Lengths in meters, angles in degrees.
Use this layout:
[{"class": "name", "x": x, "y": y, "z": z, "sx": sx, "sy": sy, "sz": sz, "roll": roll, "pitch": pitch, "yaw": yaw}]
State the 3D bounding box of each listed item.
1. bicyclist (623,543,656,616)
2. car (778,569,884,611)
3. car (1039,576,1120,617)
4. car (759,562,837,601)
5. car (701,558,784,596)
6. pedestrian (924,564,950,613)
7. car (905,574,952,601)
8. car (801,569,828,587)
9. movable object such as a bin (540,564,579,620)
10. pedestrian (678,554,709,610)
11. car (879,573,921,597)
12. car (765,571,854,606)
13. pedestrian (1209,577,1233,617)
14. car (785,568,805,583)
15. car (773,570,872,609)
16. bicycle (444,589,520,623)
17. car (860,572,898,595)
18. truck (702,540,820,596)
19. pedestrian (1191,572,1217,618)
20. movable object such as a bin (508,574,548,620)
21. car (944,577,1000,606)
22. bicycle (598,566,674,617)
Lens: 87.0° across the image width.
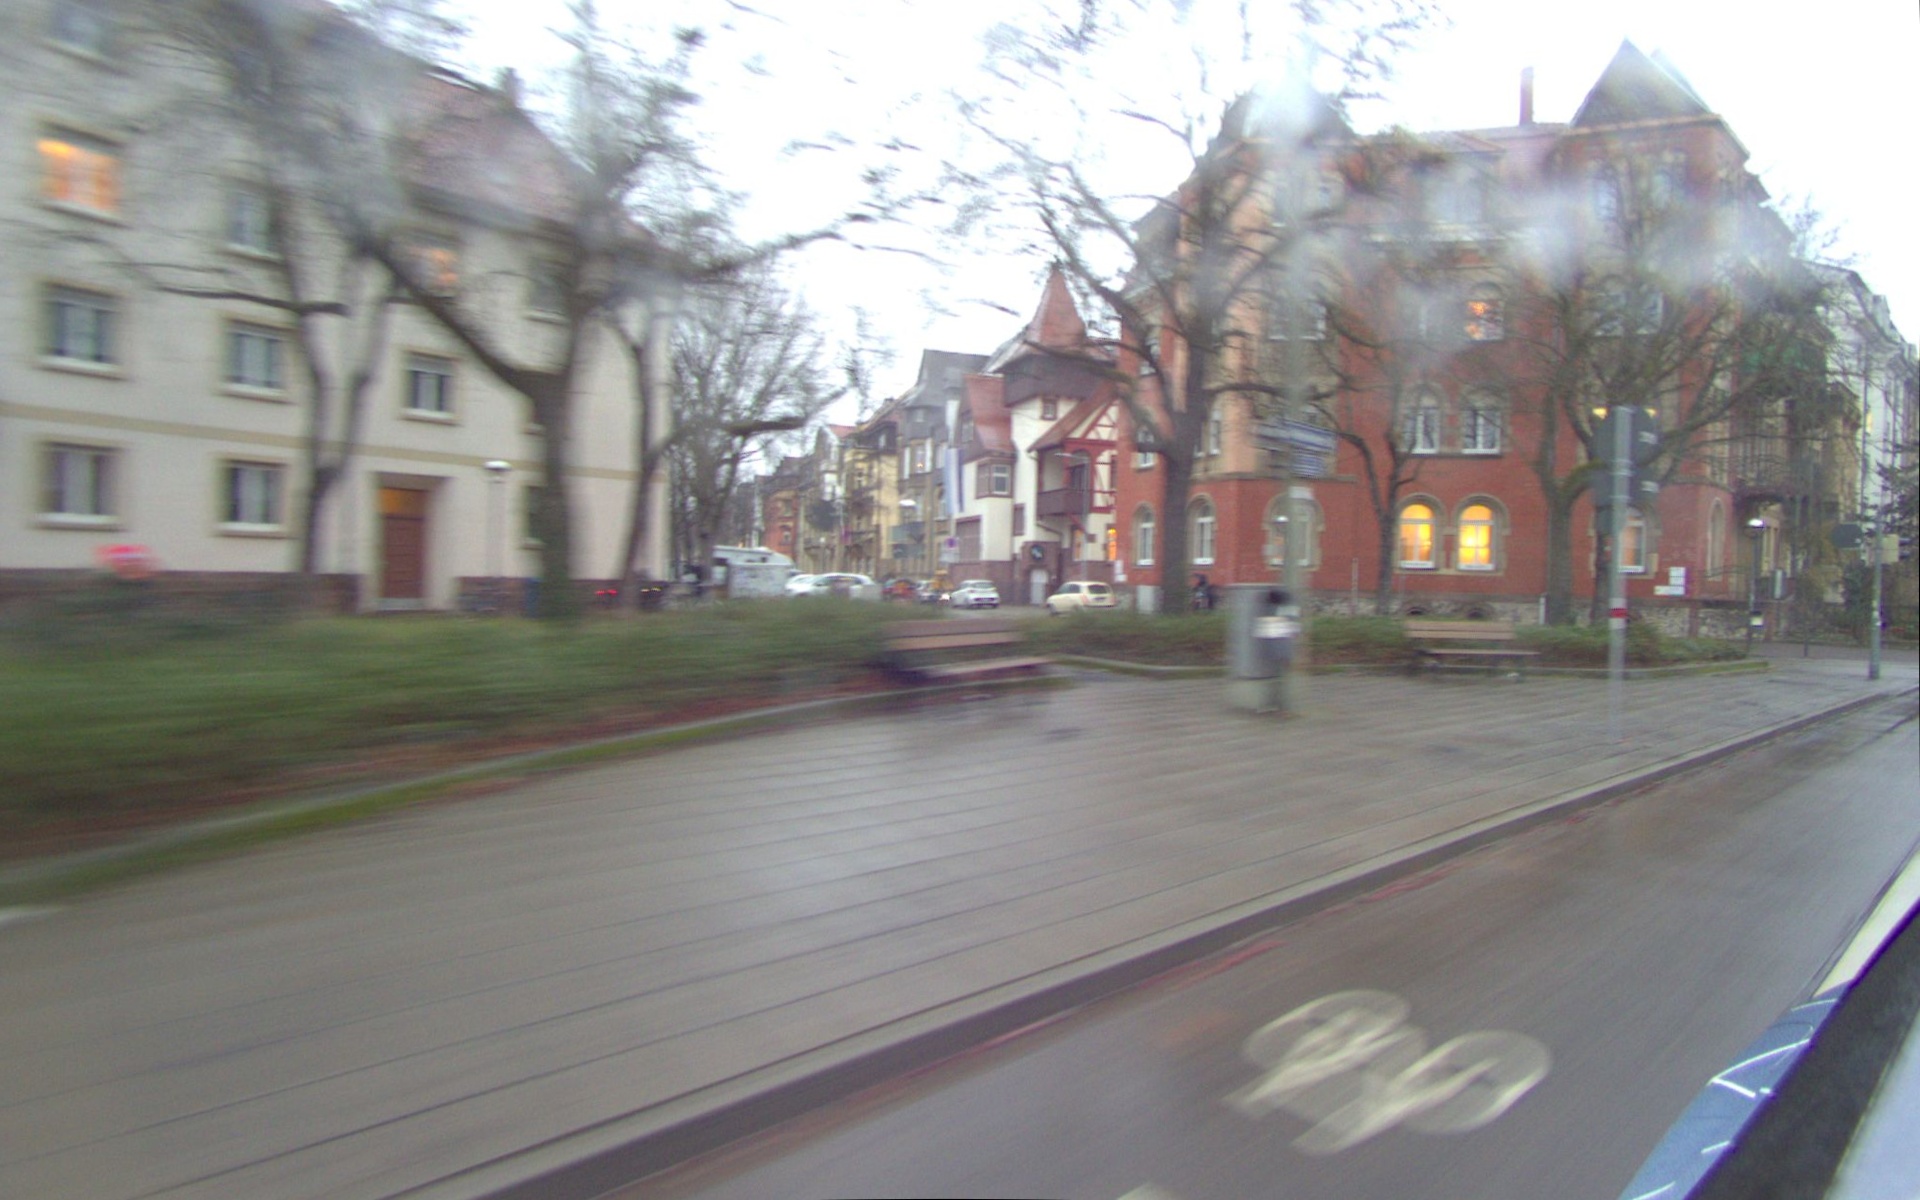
[{"class": "bicyclist", "x": -8.521, "y": -0.556, "z": 26.900, "sx": 0.667, "sy": 1.910, "sz": 0.467, "roll": 0, "pitch": 1, "yaw": -41}, {"class": "car", "x": -5.048, "y": -0.394, "z": 39.322, "sx": 3.916, "sy": 1.504, "sz": 1.855, "roll": 1, "pitch": 1, "yaw": -12}, {"class": "car", "x": 4.831, "y": -0.181, "z": 41.558, "sx": 1.613, "sy": 1.514, "sz": 4.009, "roll": 1, "pitch": 1, "yaw": -20}, {"class": "car", "x": -8.616, "y": -0.974, "z": 53.647, "sx": 3.916, "sy": 1.958, "sz": 1.855, "roll": 1, "pitch": 1, "yaw": -12}, {"class": "car", "x": -12.389, "y": -1.310, "z": 57.610, "sx": 4.237, "sy": 2.038, "sz": 2.004, "roll": 1, "pitch": 1, "yaw": -23}, {"class": "pedestrian", "x": -0.924, "y": -0.470, "z": 40.241, "sx": 0.797, "sy": 1.887, "sz": 0.880, "roll": 1, "pitch": 1, "yaw": -13}, {"class": "car", "x": -1.973, "y": -0.795, "z": 61.976, "sx": 1.689, "sy": 1.526, "sz": 4.009, "roll": 1, "pitch": 1, "yaw": -20}, {"class": "car", "x": -13.864, "y": -2.088, "z": 96.121, "sx": 1.689, "sy": 1.590, "sz": 4.009, "roll": 1, "pitch": 1, "yaw": -20}, {"class": "movable object such as a bin", "x": -9.184, "y": -0.186, "z": 23.198, "sx": 0.526, "sy": 1.243, "sz": 0.642, "roll": 2, "pitch": 1, "yaw": 37}, {"class": "pedestrian", "x": -8.139, "y": -0.552, "z": 30.893, "sx": 0.744, "sy": 1.662, "sz": 1.125, "roll": 1, "pitch": 1, "yaw": -22}, {"class": "car", "x": -4.037, "y": -1.037, "z": 67.731, "sx": 1.689, "sy": 1.517, "sz": 4.009, "roll": 1, "pitch": 1, "yaw": -20}, {"class": "car", "x": -6.947, "y": -0.529, "z": 46.509, "sx": 3.916, "sy": 1.494, "sz": 1.855, "roll": 1, "pitch": 1, "yaw": -12}, {"class": "pedestrian", "x": 8.913, "y": -0.093, "z": 34.576, "sx": 0.596, "sy": 1.333, "sz": 0.548, "roll": 1, "pitch": -1, "yaw": -20}, {"class": "car", "x": -18.485, "y": -2.775, "z": 113.387, "sx": 1.541, "sy": 1.590, "sz": 4.009, "roll": 1, "pitch": 1, "yaw": -18}, {"class": "car", "x": -5.722, "y": -0.445, "z": 41.892, "sx": 3.916, "sy": 1.494, "sz": 1.855, "roll": 1, "pitch": 1, "yaw": -12}, {"class": "bicycle", "x": -11.067, "y": 0.129, "z": 23.481, "sx": 1.563, "sy": 0.775, "sz": 0.339, "roll": 0, "pitch": 1, "yaw": -44}, {"class": "car", "x": -5.899, "y": -1.209, "z": 73.195, "sx": 1.689, "sy": 1.534, "sz": 4.009, "roll": 1, "pitch": 1, "yaw": -20}, {"class": "truck", "x": -11.988, "y": -1.903, "z": 60.973, "sx": 6.592, "sy": 3.130, "sz": 2.639, "roll": 1, "pitch": 1, "yaw": -22}, {"class": "pedestrian", "x": 8.280, "y": -0.179, "z": 34.354, "sx": 0.630, "sy": 1.546, "sz": 0.548, "roll": 1, "pitch": -1, "yaw": -19}, {"class": "movable object such as a bin", "x": -9.690, "y": -0.075, "z": 22.716, "sx": 0.526, "sy": 0.993, "sz": 0.642, "roll": 2, "pitch": 1, "yaw": 37}, {"class": "car", "x": 0.610, "y": -0.497, "z": 53.937, "sx": 1.613, "sy": 1.415, "sz": 4.009, "roll": 1, "pitch": 1, "yaw": -20}, {"class": "bicycle", "x": -8.582, "y": -0.228, "z": 26.864, "sx": 1.880, "sy": 1.307, "sz": 0.467, "roll": 0, "pitch": 1, "yaw": -41}]
